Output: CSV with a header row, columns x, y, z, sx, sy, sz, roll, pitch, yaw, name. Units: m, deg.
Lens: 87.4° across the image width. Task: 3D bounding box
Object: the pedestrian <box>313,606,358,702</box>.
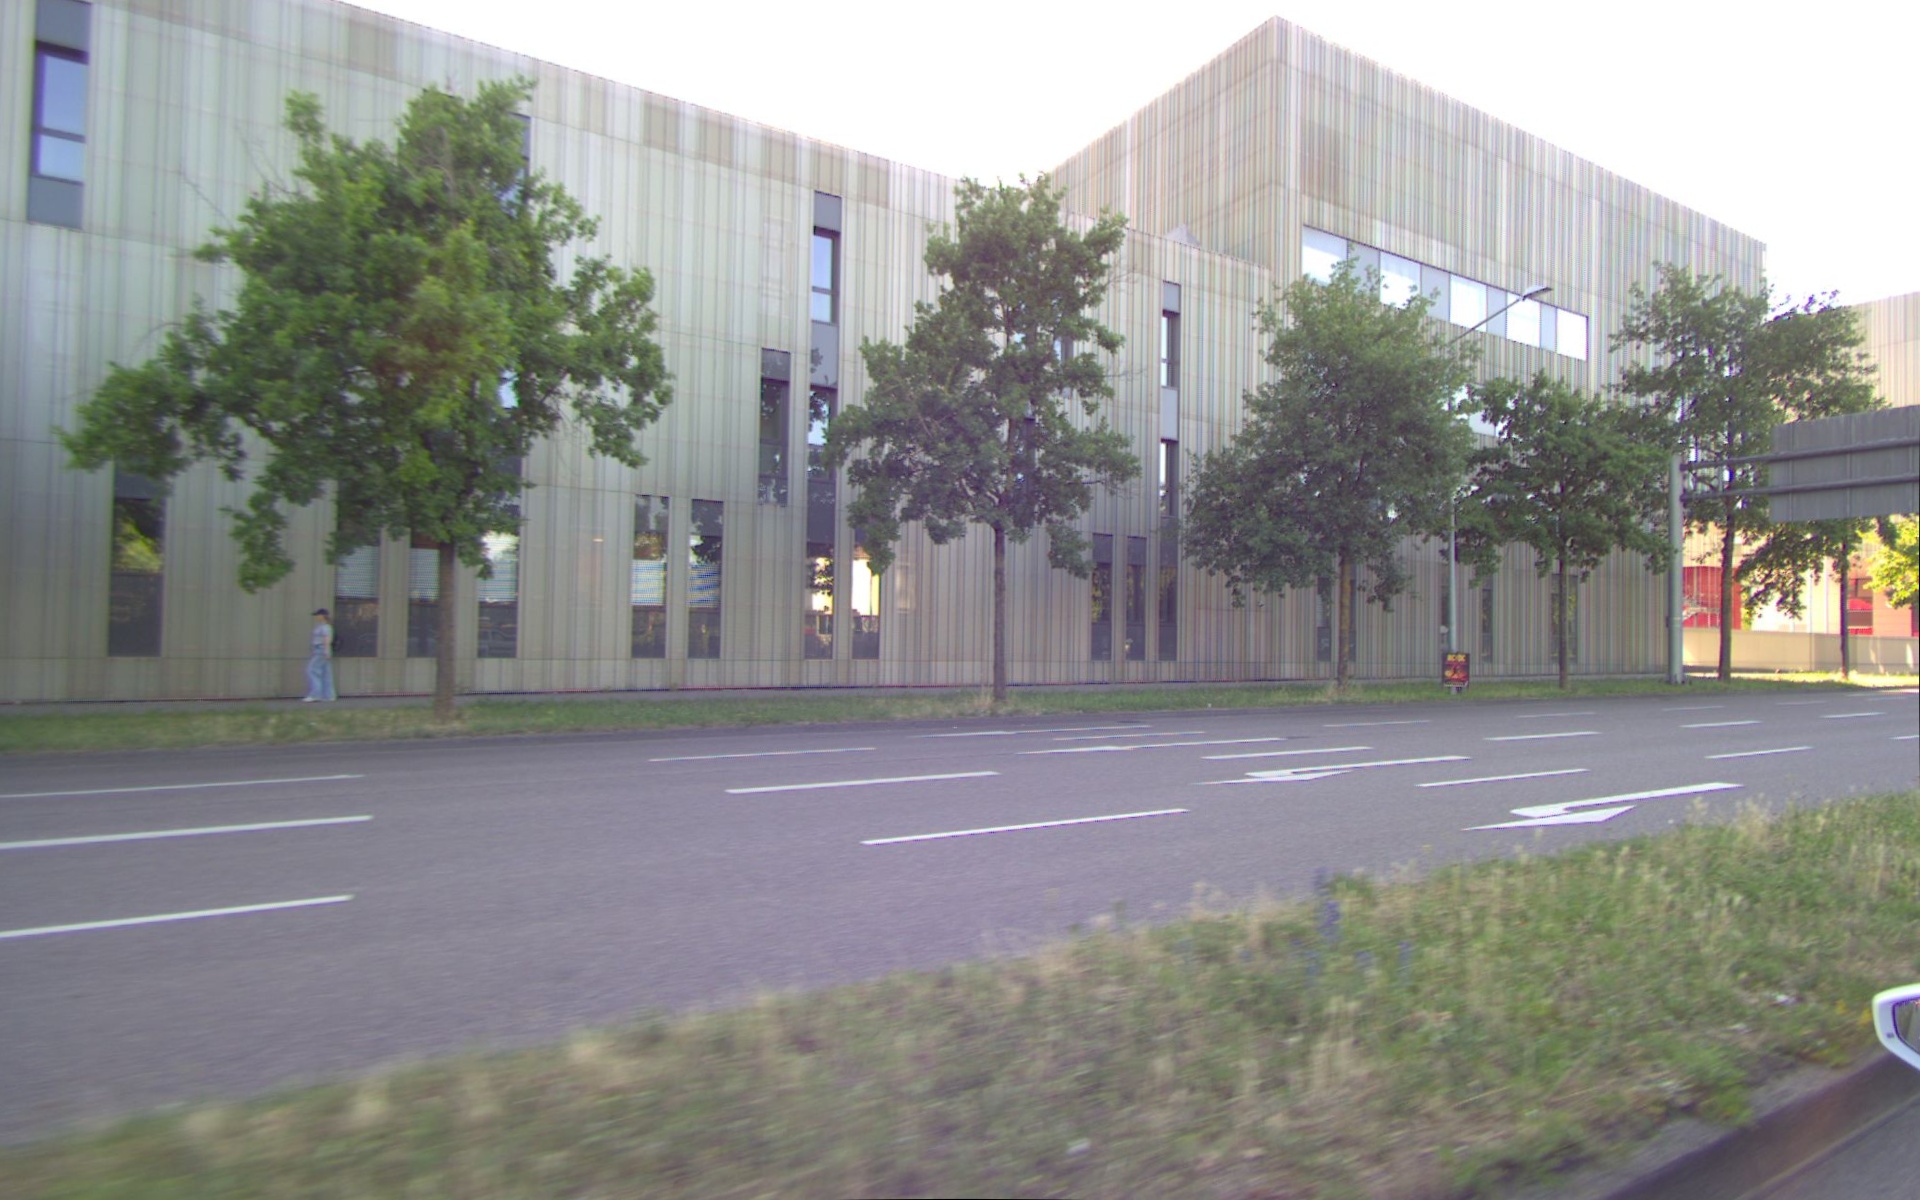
x,y,z,sx,sy,sz,roll,pitch,yaw,name
-11.883,1.013,19.135,0.641,1.790,0.600,2,-1,-29,pedestrian
